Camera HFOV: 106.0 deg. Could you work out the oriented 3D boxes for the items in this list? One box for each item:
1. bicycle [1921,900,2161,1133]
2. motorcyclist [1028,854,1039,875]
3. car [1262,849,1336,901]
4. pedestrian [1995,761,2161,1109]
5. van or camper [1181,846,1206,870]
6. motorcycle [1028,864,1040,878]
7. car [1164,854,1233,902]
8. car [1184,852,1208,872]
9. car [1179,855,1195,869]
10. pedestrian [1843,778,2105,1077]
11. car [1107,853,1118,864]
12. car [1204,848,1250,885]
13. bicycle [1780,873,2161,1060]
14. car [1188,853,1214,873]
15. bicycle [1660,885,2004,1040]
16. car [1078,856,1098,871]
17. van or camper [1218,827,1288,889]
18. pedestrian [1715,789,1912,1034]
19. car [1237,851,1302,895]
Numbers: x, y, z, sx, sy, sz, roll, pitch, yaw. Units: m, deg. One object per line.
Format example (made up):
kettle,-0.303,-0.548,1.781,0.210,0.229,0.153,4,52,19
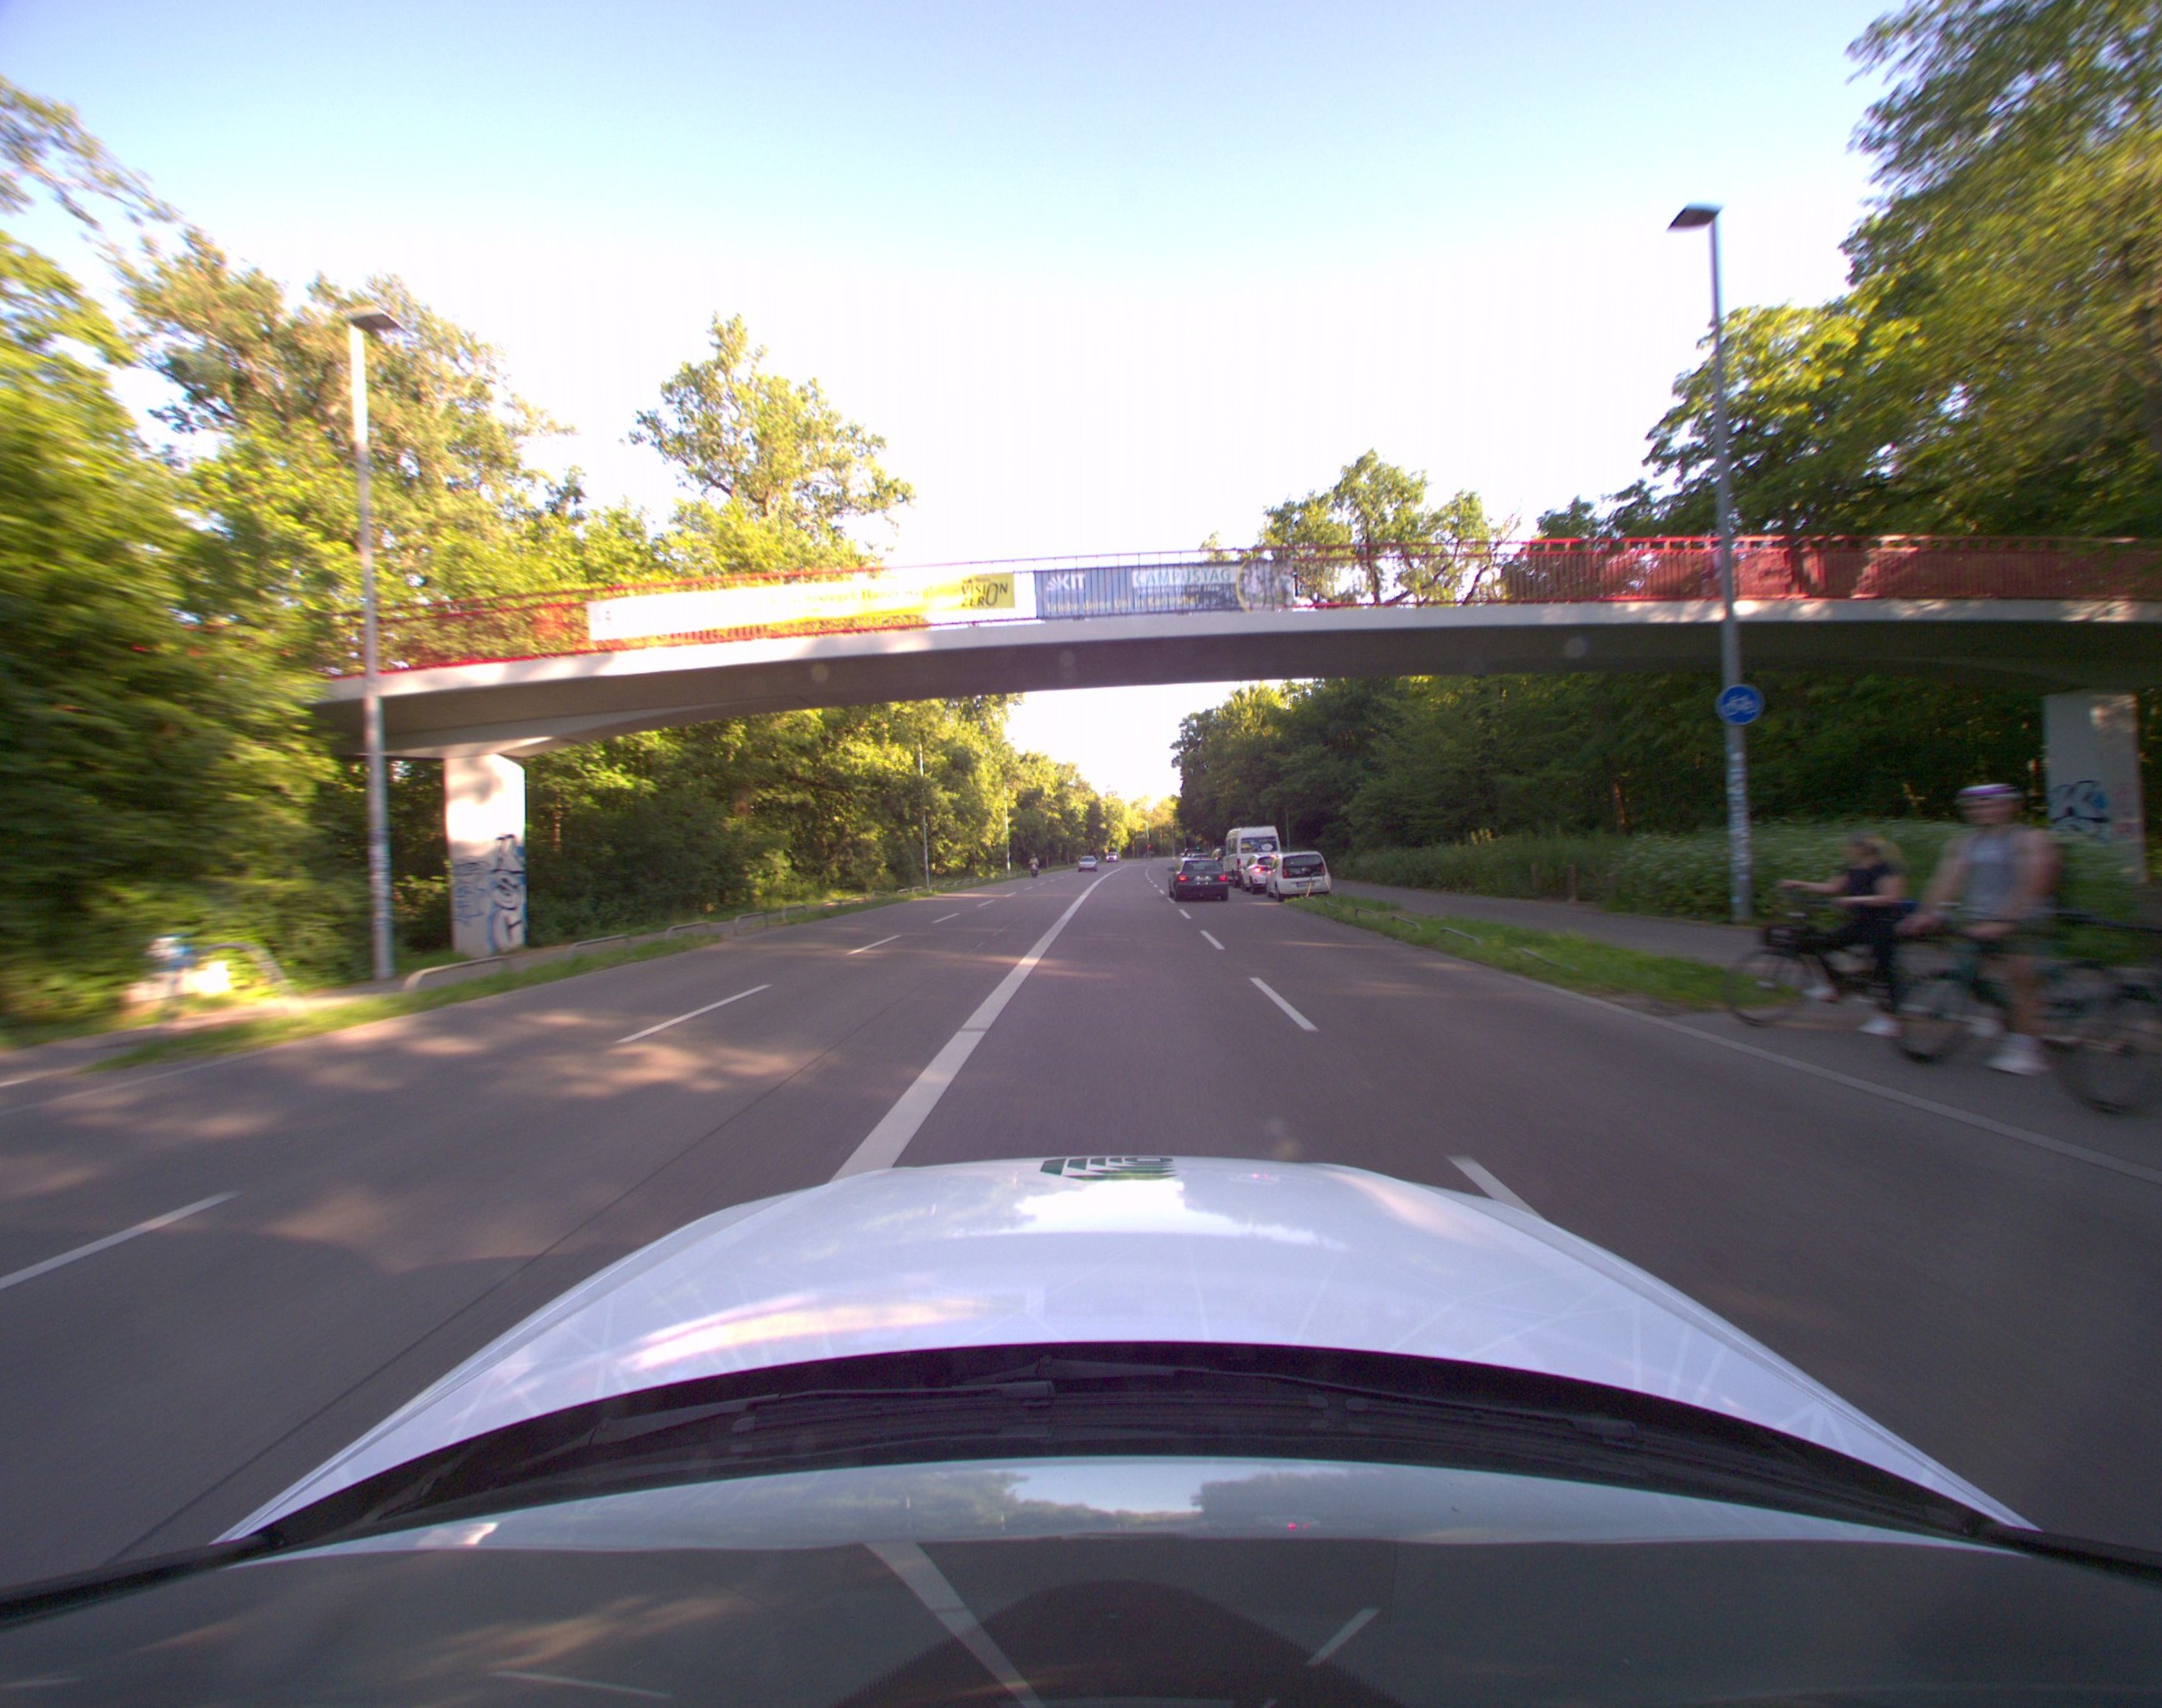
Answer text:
bicycle,6.197,0.839,4.597,2.056,1.068,0.869,-2,0,-3
motorcyclist,-3.470,0.783,59.339,0.721,1.505,0.672,-2,-1,2
car,6.897,0.638,26.074,1.714,1.496,3.781,-2,0,6
pedestrian,6.082,0.424,4.610,0.697,1.852,0.938,-2,0,-3
van or camper,10.122,0.365,73.477,1.883,1.948,5.142,-4,-1,6
motorcycle,-3.437,1.222,59.503,0.634,0.995,2.078,-1,0,3
car,3.809,0.759,27.093,1.722,1.441,4.089,-1,0,0
car,9.572,0.653,68.167,1.719,1.544,4.223,-2,0,5
car,12.451,0.907,95.732,1.719,1.441,4.675,-4,-1,6
pedestrian,6.059,0.458,5.591,0.697,1.852,0.938,-2,0,-3
car,6.400,0.883,163.267,1.984,1.992,5.003,-2,0,4
car,7.890,0.644,44.419,1.821,1.868,5.079,-2,0,4
bicycle,6.157,0.713,5.555,2.056,1.068,0.869,-2,0,-3
car,9.178,0.660,62.403,1.719,1.441,4.106,-2,0,5
bicycle,6.091,0.844,6.696,2.056,1.068,0.869,-2,0,-3
car,0.653,0.876,76.996,1.674,1.407,3.893,-2,0,3
van or camper,7.698,0.163,37.099,2.110,2.517,5.983,-2,0,2
pedestrian,5.976,0.439,6.703,0.697,1.852,0.938,-2,0,-3
car,7.040,0.662,30.814,1.715,1.496,4.149,-2,0,4
